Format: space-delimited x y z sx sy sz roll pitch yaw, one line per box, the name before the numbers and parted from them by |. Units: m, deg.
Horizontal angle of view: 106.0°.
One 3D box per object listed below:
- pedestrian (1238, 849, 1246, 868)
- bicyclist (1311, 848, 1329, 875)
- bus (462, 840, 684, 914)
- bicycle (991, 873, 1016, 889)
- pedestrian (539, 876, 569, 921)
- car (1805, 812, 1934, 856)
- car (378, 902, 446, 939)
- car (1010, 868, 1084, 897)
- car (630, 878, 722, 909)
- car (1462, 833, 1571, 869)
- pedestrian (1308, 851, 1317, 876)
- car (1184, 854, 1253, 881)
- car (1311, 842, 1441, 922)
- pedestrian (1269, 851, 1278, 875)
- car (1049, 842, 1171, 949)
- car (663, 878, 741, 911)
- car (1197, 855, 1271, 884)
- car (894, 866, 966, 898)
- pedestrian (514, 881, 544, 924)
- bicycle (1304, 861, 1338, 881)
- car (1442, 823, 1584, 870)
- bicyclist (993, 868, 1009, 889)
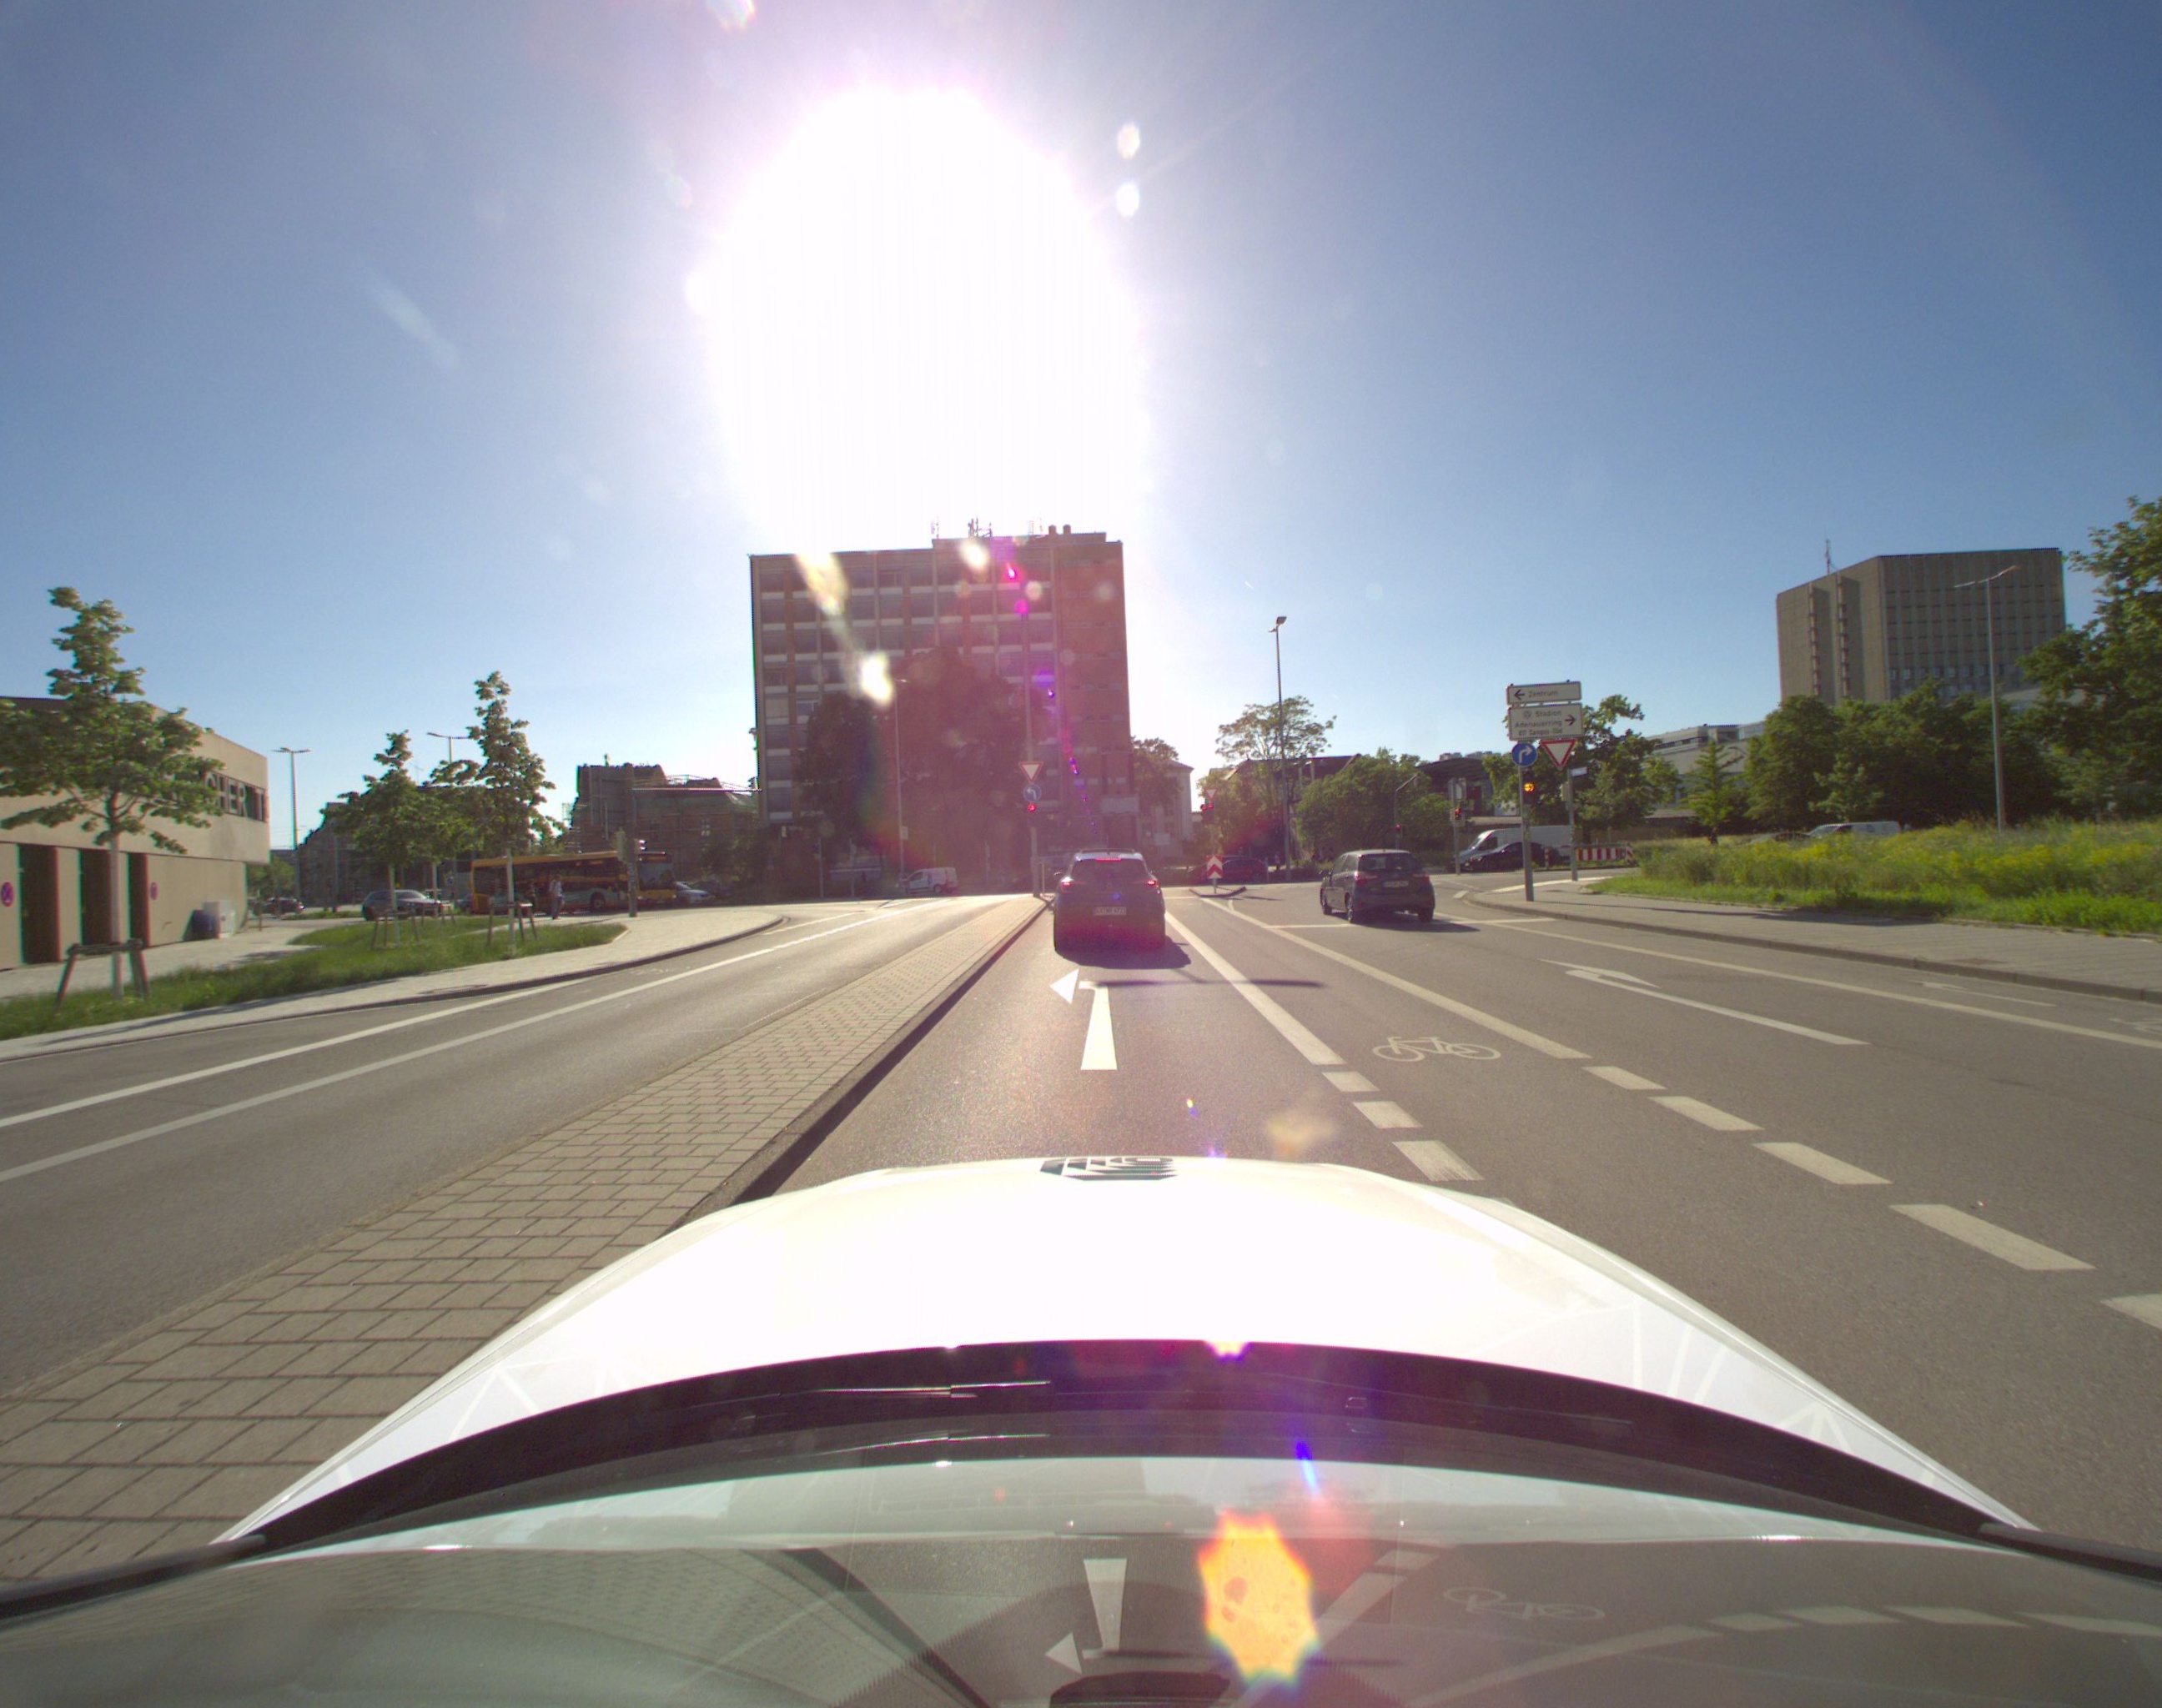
pedestrian | 14.280 0.373 72.306 0.573 1.670 0.564 -2 -2 11
bicyclist | 16.938 0.524 57.751 0.853 1.846 0.851 -1 -2 -26
bus | -27.035 1.282 43.161 12.302 3.396 2.896 -3 -2 19
bicycle | -5.487 1.915 57.942 1.679 1.093 0.604 -2 -1 -36
pedestrian | -21.270 1.790 32.876 0.620 1.741 0.791 -3 -2 17
car | 45.169 -1.113 46.738 5.063 2.225 2.078 -2 0 6
car | -39.693 3.950 48.294 3.948 2.014 2.024 -3 -2 33
car | -2.034 1.726 49.722 4.087 1.586 1.886 -2 -2 12
car | -22.374 2.178 44.986 4.361 1.522 1.979 -3 -2 18
car | 24.049 -0.162 45.124 4.827 1.746 2.078 -2 0 6
pedestrian | 15.682 0.676 55.185 0.552 1.670 0.478 -3 -2 16
car | 8.352 0.804 49.594 3.964 1.464 2.005 -2 0 8
car | 6.385 0.602 18.056 1.748 1.542 3.662 -2 -1 4
pedestrian | 13.527 0.607 57.173 0.556 1.670 0.478 -3 -2 16
car | 0.369 0.666 14.324 1.819 1.600 3.654 -1 -1 -3
car | -25.494 2.729 54.872 4.344 2.014 2.006 -2 -2 10
car | 8.593 0.864 45.964 3.964 1.464 2.005 -2 -1 8
car | -10.332 1.914 55.764 4.316 2.014 2.008 -2 -2 14
pedestrian | -23.175 2.031 34.182 0.648 1.741 0.791 -3 -2 17
bicycle | 16.968 1.209 57.731 0.853 1.370 2.437 -1 -2 -26
car | 25.527 -0.436 48.358 7.116 2.423 2.078 -2 0 6
bicyclist | -5.682 1.752 57.802 0.822 1.444 0.613 -2 -1 -35
